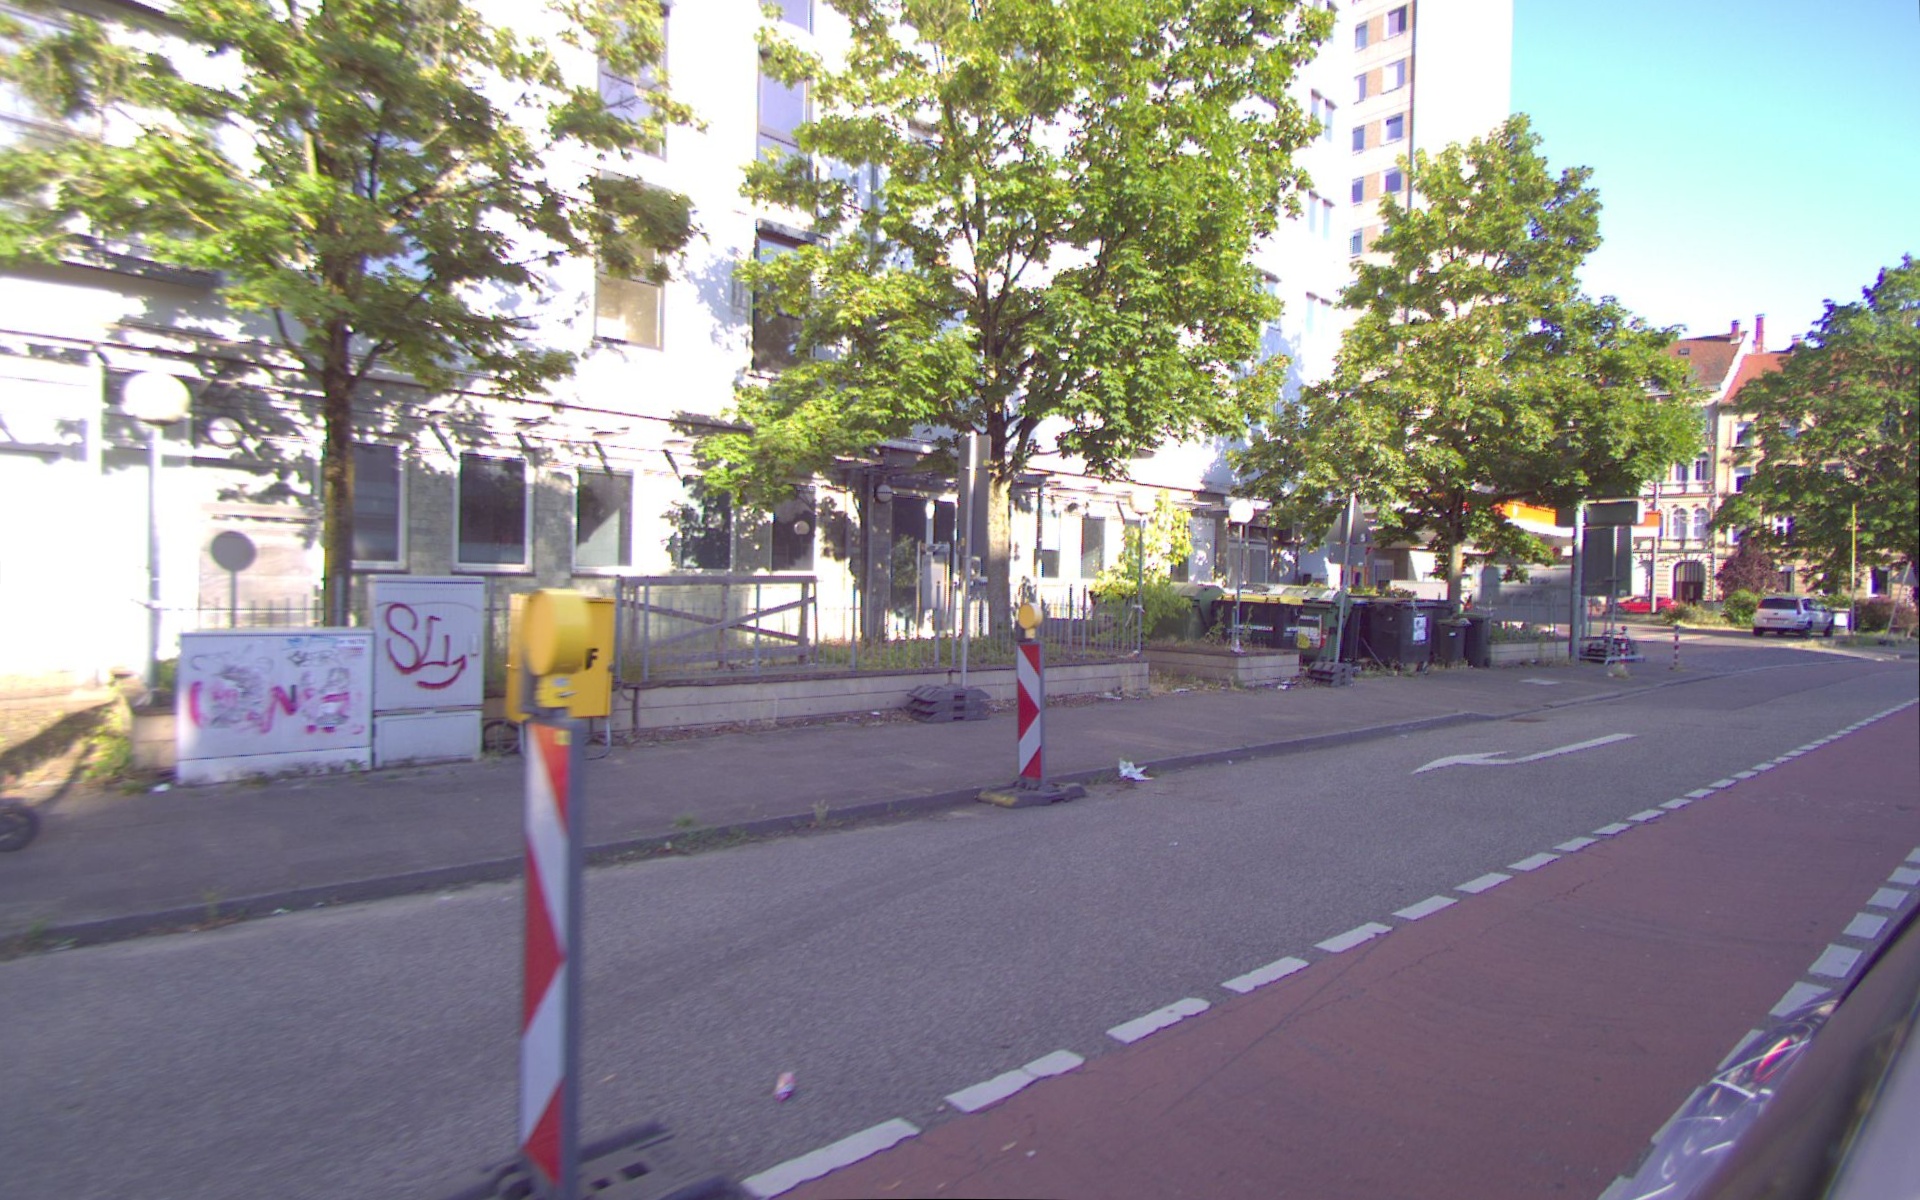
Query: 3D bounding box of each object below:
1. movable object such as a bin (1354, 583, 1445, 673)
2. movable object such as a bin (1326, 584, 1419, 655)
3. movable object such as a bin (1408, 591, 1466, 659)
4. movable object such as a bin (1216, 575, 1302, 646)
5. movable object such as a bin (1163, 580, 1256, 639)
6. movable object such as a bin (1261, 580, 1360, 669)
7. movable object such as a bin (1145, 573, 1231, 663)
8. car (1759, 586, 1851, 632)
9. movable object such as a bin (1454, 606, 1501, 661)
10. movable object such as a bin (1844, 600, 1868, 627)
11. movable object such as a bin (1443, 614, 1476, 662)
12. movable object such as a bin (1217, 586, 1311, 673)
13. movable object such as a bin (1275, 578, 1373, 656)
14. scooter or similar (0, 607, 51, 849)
[{"bbox_3d":[8.033,0.477,18.497,1.232,1.526,1.095,-3,3,-40],"label":"movable object such as a bin"},{"bbox_3d":[8.806,0.387,21.657,0.850,1.427,1.611,0,1,-41],"label":"movable object such as a bin"},{"bbox_3d":[9.787,0.494,20.769,0.850,1.325,0.779,0,1,-41],"label":"movable object such as a bin"},{"bbox_3d":[6.405,0.219,21.713,1.255,1.438,1.199,2,2,-38],"label":"movable object such as a bin"},{"bbox_3d":[5.182,0.174,21.024,1.220,1.143,1.422,0,1,-39],"label":"movable object such as a bin"},{"bbox_3d":[6.309,0.406,18.208,1.325,1.503,1.193,2,1,40],"label":"movable object such as a bin"},{"bbox_3d":[3.973,0.292,17.646,0.940,1.503,1.105,0,1,-41],"label":"movable object such as a bin"},{"bbox_3d":[31.583,0.314,37.800,3.819,1.613,1.625,0,1,-34],"label":"car"},{"bbox_3d":[10.362,0.665,20.251,0.605,1.059,0.621,0,1,-38],"label":"movable object such as a bin"},{"bbox_3d":[35.503,0.522,40.096,0.661,1.042,0.573,0,1,-36],"label":"movable object such as a bin"},{"bbox_3d":[9.854,0.740,19.973,0.481,0.918,0.394,0,1,-38],"label":"movable object such as a bin"},{"bbox_3d":[5.065,0.464,16.853,1.210,1.361,1.042,2,1,35],"label":"movable object such as a bin"},{"bbox_3d":[7.356,0.333,20.472,1.254,1.451,1.313,2,2,-35],"label":"movable object such as a bin"},{"bbox_3d":[-5.277,0.645,4.939,1.228,1.209,0.331,0,1,-40],"label":"scooter or similar"}]
